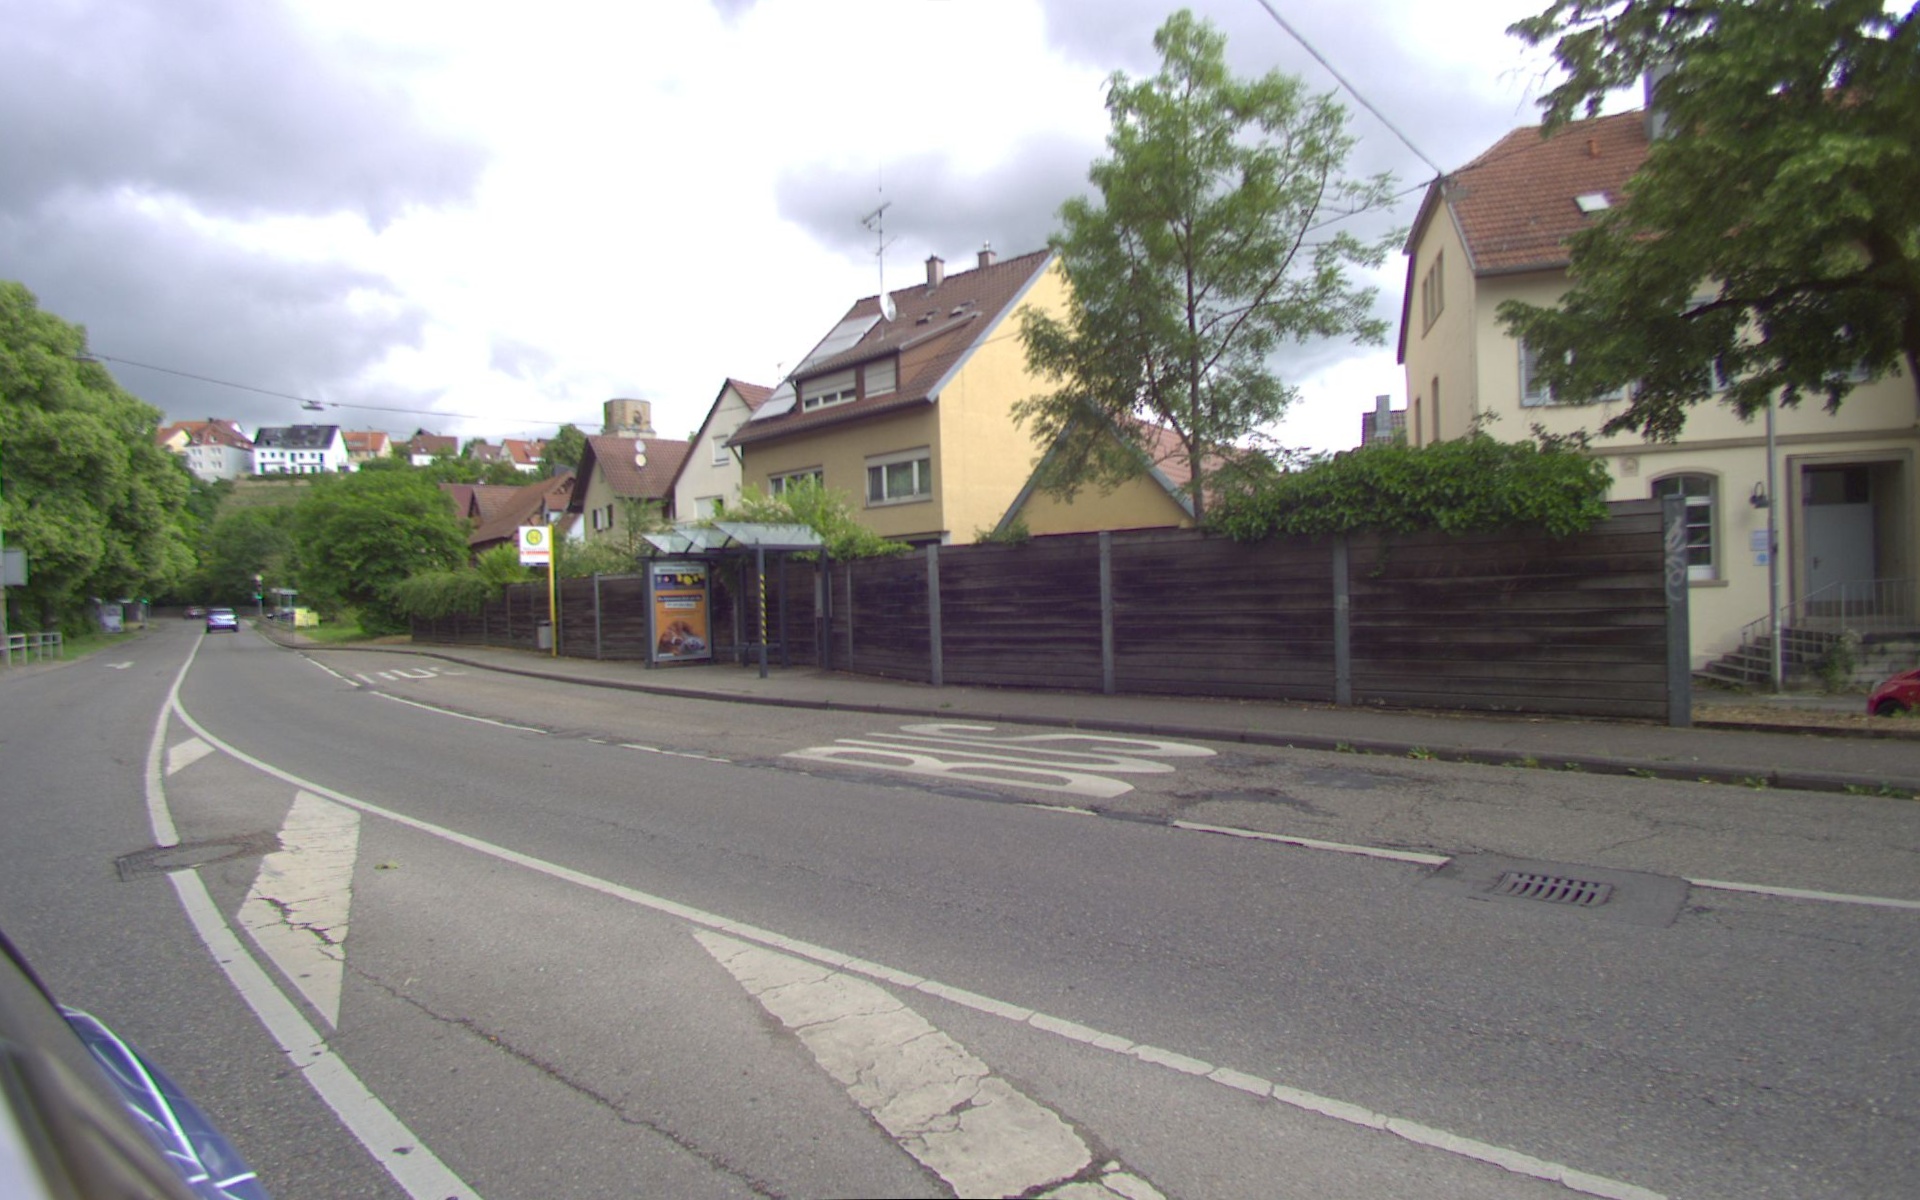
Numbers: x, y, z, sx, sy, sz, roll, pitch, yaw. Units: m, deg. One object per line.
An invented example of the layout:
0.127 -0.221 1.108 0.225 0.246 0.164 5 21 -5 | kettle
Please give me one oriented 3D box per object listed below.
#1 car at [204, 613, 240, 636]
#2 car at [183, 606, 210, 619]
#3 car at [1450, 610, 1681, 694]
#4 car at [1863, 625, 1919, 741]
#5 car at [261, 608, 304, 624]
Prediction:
-53.948 1.785 73.945 1.968 1.630 4.008 -1 0 -39 | car
-95.092 1.575 125.995 4.000 1.586 1.972 -1 0 43 | car
11.345 0.965 19.203 3.405 1.490 1.603 -1 0 15 | car
12.445 1.014 11.249 1.641 1.393 3.714 -1 0 5 | car
-71.581 1.679 107.015 3.620 1.596 1.770 -1 0 -30 | car
